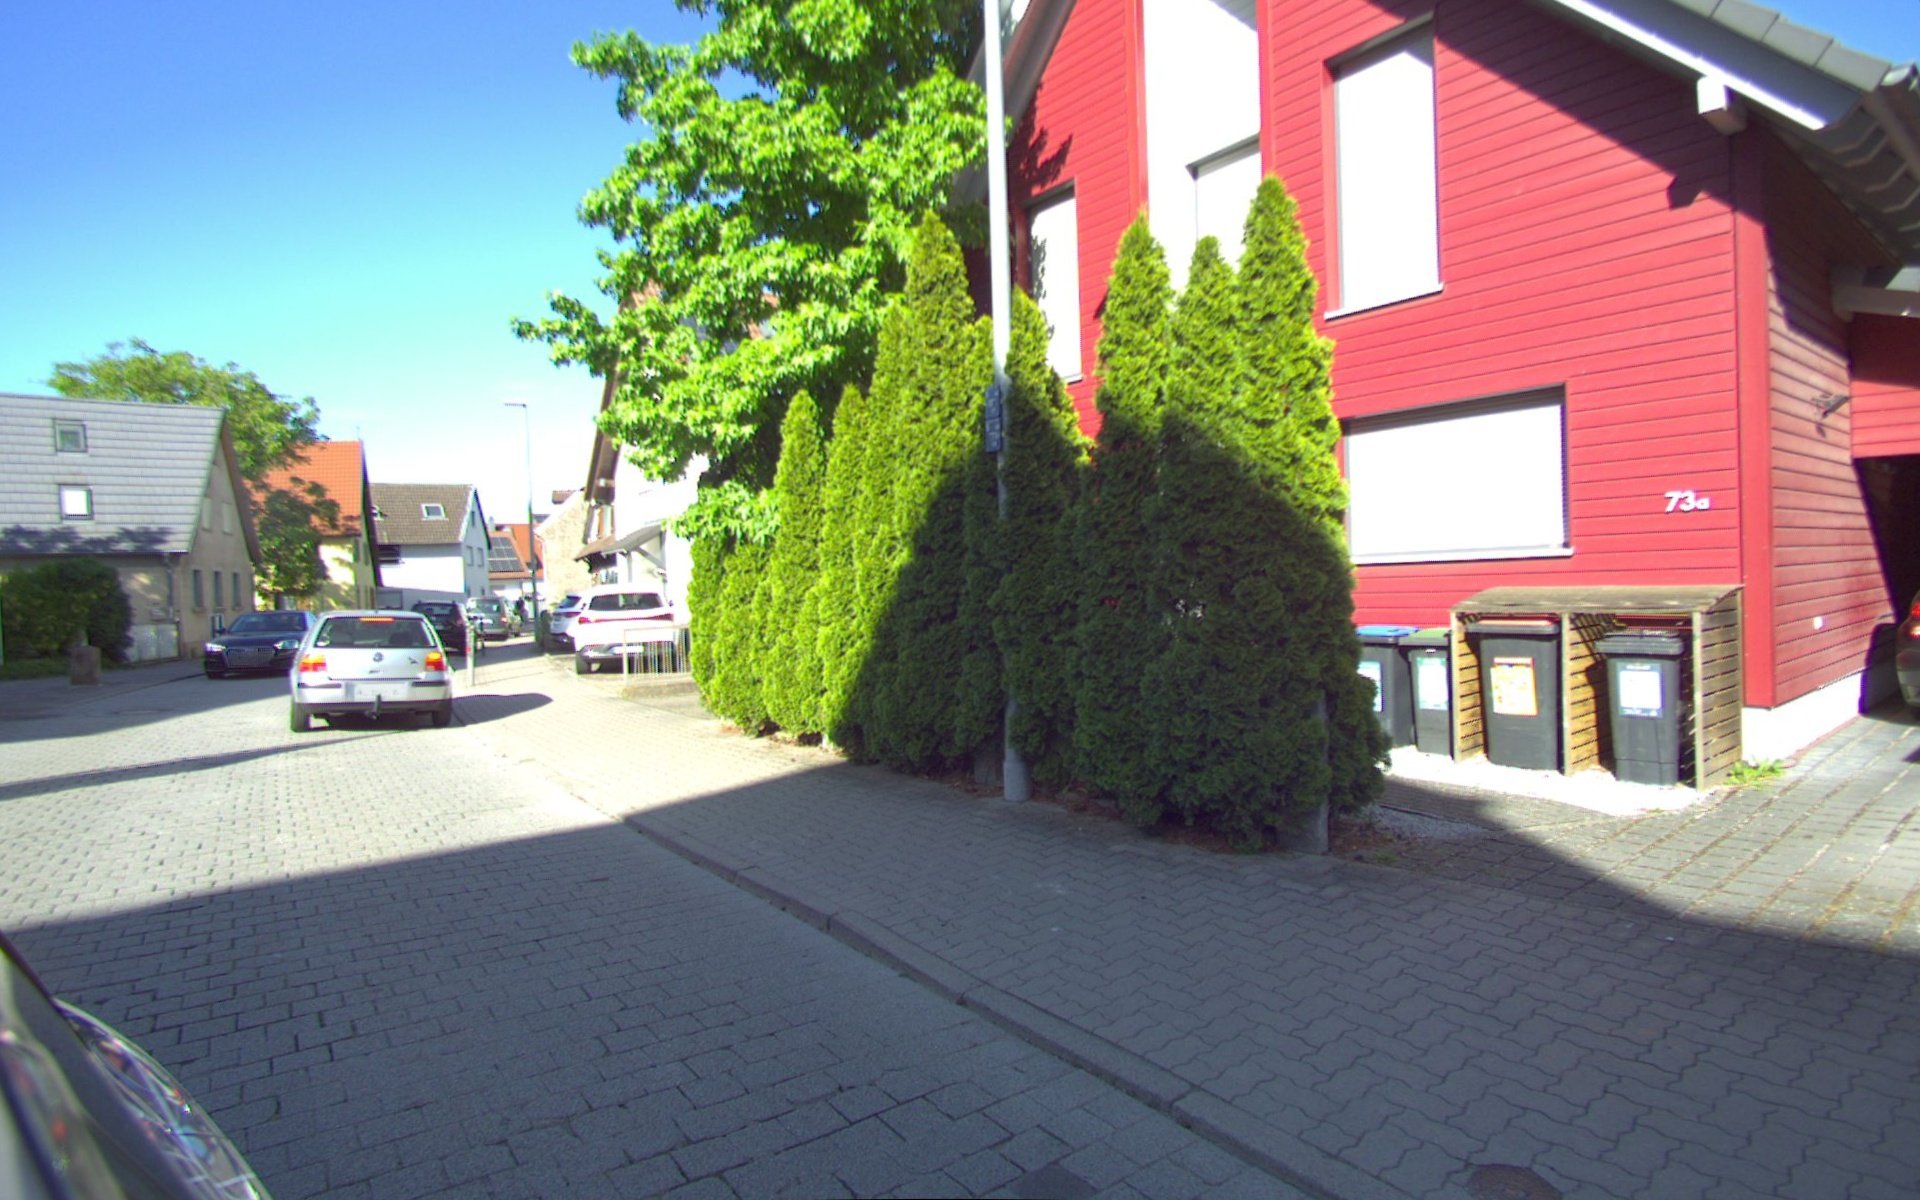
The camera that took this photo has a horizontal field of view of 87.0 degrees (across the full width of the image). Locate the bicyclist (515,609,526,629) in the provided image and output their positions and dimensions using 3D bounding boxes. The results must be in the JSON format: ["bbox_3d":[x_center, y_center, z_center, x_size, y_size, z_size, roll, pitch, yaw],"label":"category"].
[{"bbox_3d":[-29.017,1.263,66.821,0.573,1.330,0.609,0,-1,-12],"label":"bicyclist"}]

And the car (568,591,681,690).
[{"bbox_3d":[-6.497,0.685,19.746,1.792,1.607,4.459,-3,1,-17],"label":"car"}]

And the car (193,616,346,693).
[{"bbox_3d":[-15.179,1.141,22.506,1.777,1.489,4.357,-1,-1,-20],"label":"car"}]

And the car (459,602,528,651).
[{"bbox_3d":[-19.205,1.079,41.844,1.807,1.803,4.365,-3,0,-15],"label":"car"}]

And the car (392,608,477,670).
[{"bbox_3d":[-16.029,1.136,31.055,1.806,1.683,4.367,-2,0,-21],"label":"car"}]

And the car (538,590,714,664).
[{"bbox_3d":[-8.848,0.686,26.873,3.935,1.601,2.005,-4,1,-35],"label":"car"}]

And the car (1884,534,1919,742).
[{"bbox_3d":[9.000,0.170,7.782,3.933,1.513,1.822,-3,0,-33],"label":"car"}]

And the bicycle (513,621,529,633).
[{"bbox_3d":[-28.987,1.759,66.825,0.573,0.767,1.804,0,0,-12],"label":"bicycle"}]

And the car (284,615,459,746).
[{"bbox_3d":[-7.729,0.916,13.126,1.648,1.413,3.902,1,-1,-34],"label":"car"}]
